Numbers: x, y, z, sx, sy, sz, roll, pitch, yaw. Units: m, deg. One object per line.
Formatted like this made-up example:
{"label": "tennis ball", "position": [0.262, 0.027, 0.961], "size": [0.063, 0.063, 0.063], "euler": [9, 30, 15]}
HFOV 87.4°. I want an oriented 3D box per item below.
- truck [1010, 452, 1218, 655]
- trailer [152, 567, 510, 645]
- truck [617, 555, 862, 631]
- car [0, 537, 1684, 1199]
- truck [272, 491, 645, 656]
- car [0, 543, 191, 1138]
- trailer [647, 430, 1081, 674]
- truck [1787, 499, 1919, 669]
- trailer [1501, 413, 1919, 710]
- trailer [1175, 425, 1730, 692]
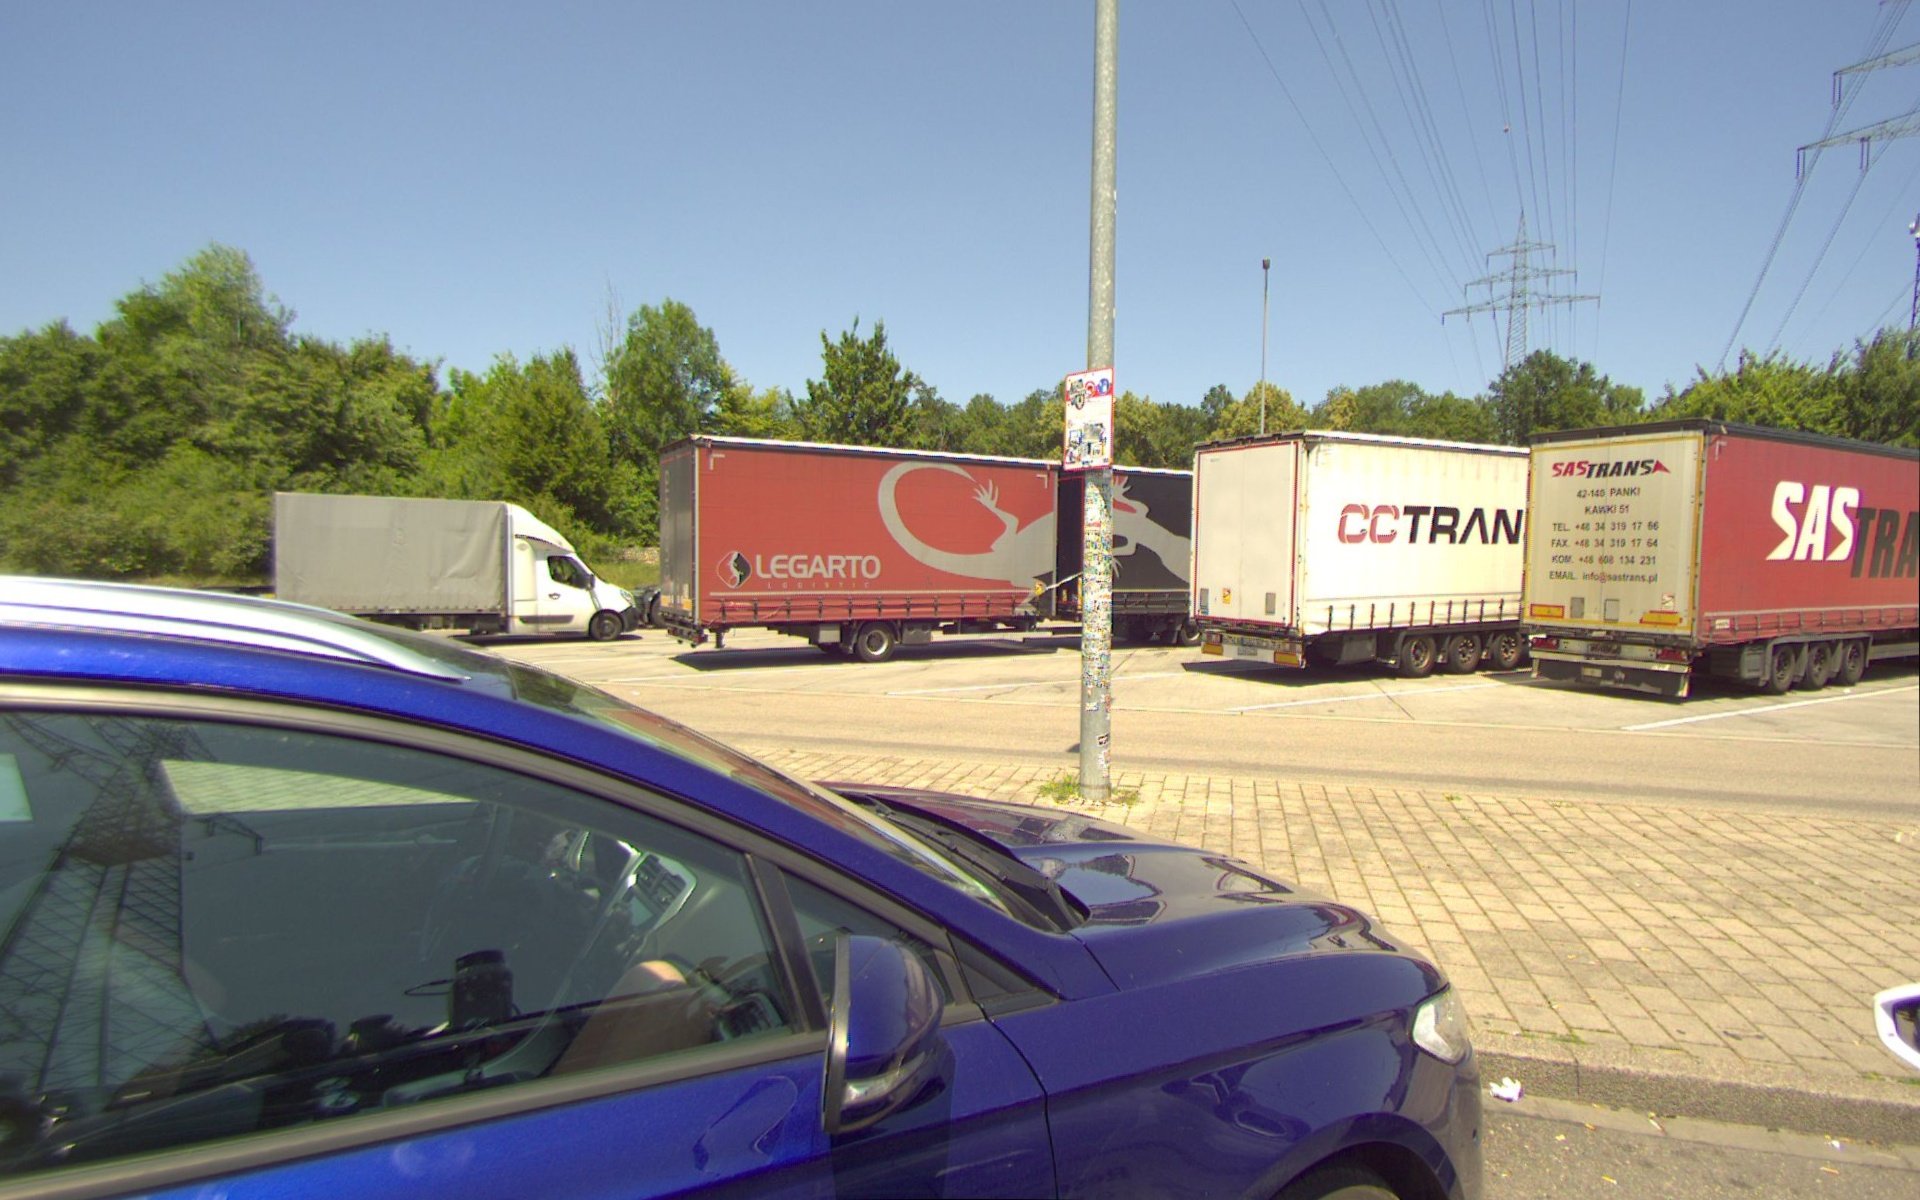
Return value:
{"label": "truck", "position": [3.562, -1.063, 23.444], "size": [3.947, 4.298, 2.723], "euler": [-1, 3, -30]}
{"label": "trailer", "position": [-15.172, 0.058, 24.889], "size": [7.204, 1.711, 2.249], "euler": [-1, 3, -29]}
{"label": "truck", "position": [-6.354, -0.227, 29.269], "size": [6.733, 2.041, 1.987], "euler": [-1, 1, -26]}
{"label": "car", "position": [-1.045, 0.679, 1.488], "size": [4.444, 1.511, 1.859], "euler": [0, 2, -32]}
{"label": "truck", "position": [-11.197, -0.622, 23.020], "size": [7.204, 3.279, 2.727], "euler": [-1, 3, -29]}
{"label": "car", "position": [-4.621, 0.601, 2.221], "size": [4.444, 1.520, 1.762], "euler": [0, 2, -32]}
{"label": "trailer", "position": [-1.751, -0.898, 20.324], "size": [8.376, 4.141, 2.722], "euler": [-1, 3, -30]}
{"label": "truck", "position": [21.202, -0.390, 21.996], "size": [5.829, 3.373, 2.837], "euler": [-1, 3, -30]}
{"label": "trailer", "position": [15.599, -0.690, 18.719], "size": [13.962, 4.141, 2.777], "euler": [-1, 3, -30]}
{"label": "trailer", "position": [10.579, -0.798, 20.330], "size": [13.962, 4.141, 2.782], "euler": [-1, 3, -30]}
